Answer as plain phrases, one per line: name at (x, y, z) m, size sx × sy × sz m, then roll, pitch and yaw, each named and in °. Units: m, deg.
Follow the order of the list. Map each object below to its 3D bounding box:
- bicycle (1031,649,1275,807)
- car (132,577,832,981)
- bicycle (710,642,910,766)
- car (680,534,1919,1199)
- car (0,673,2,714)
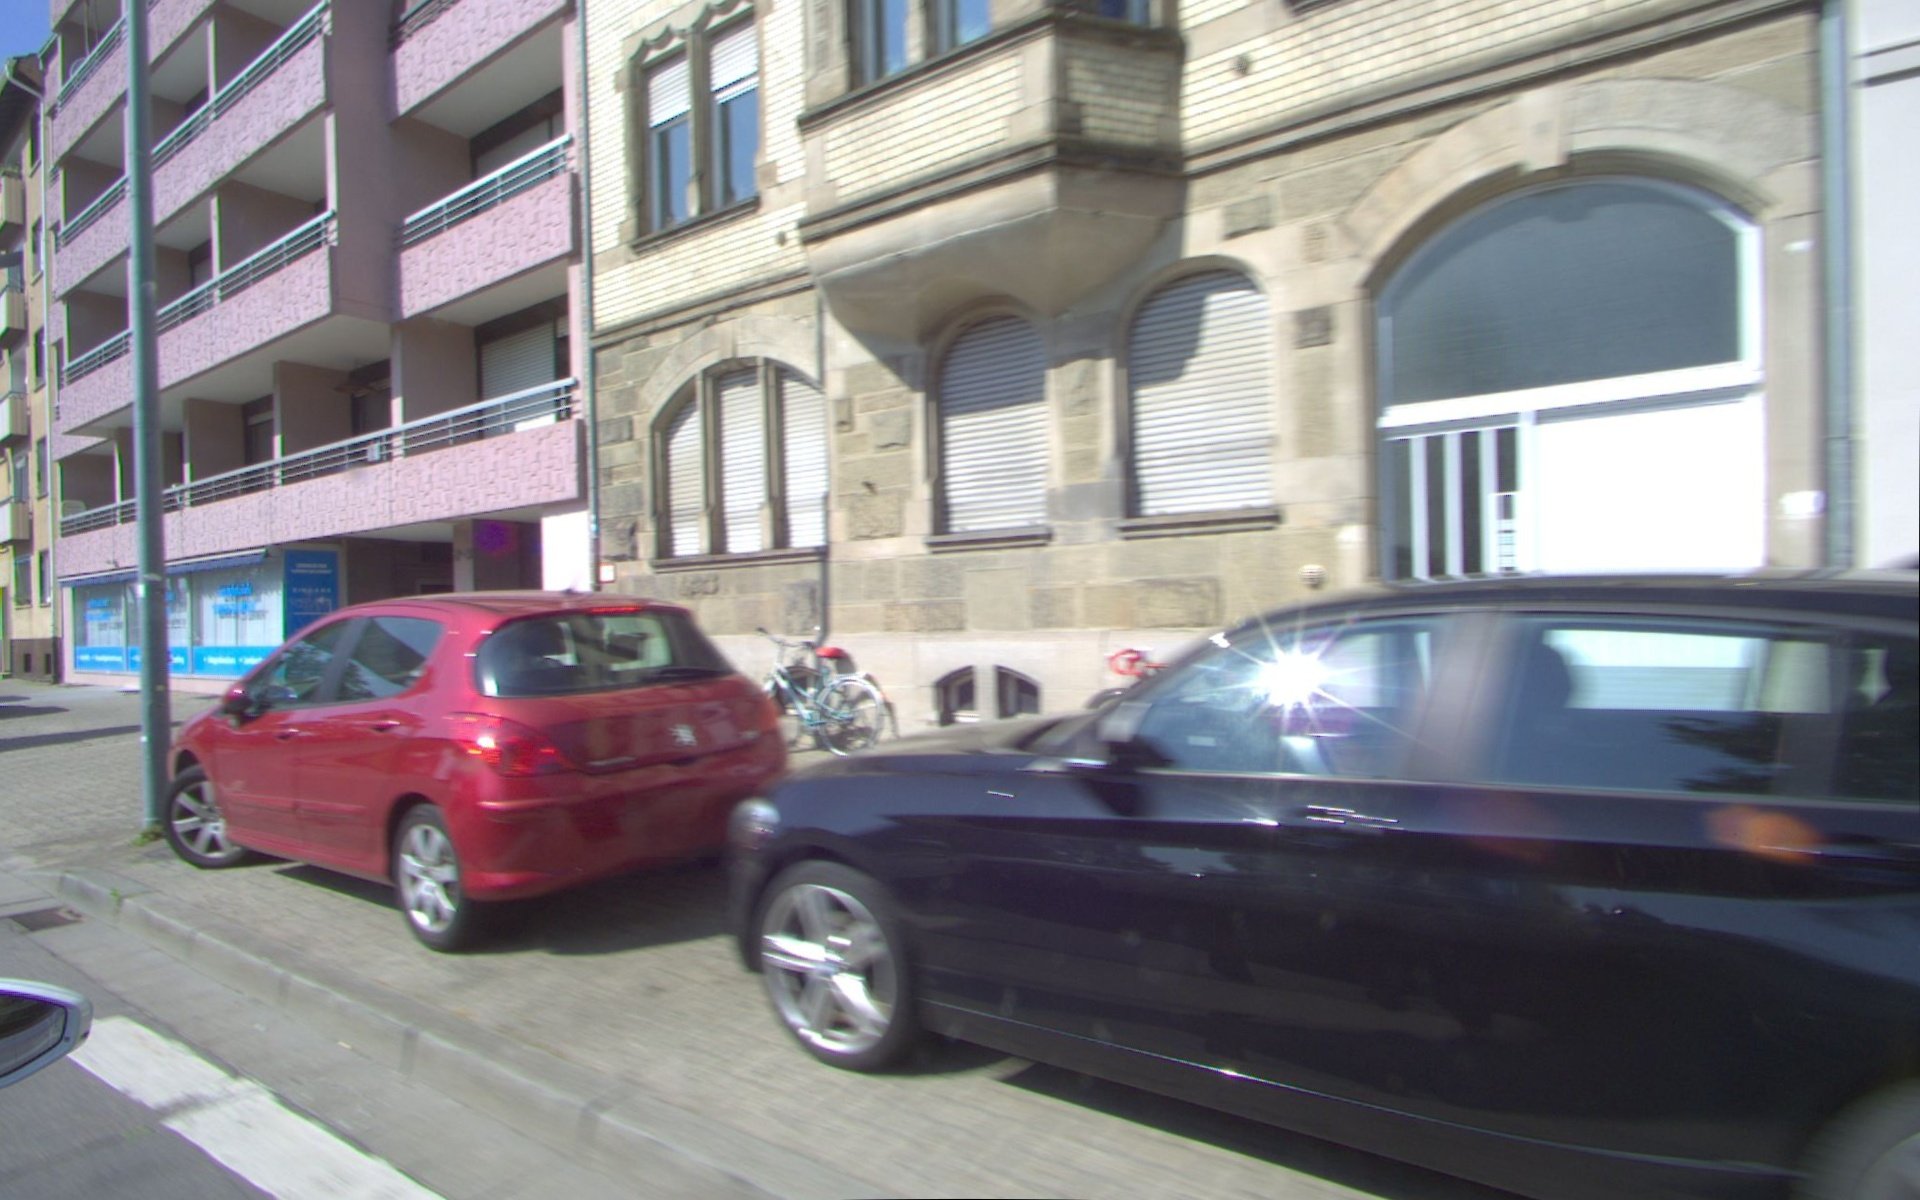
bicycle at (1.331, 0.851, 7.085) m, size 1.631 × 0.982 × 0.506 m, roll -1°, pitch 0°, yaw 37°
car at (-2.797, 0.697, 5.575) m, size 3.947 × 1.502 × 1.779 m, roll -2°, pitch 0°, yaw 35°
bicycle at (-1.370, 0.877, 8.945) m, size 1.840 × 0.982 × 0.648 m, roll -1°, pitch 0°, yaw 37°
car at (1.206, 0.653, 2.788) m, size 4.072 × 1.472 × 1.637 m, roll -2°, pitch 0°, yaw 36°
car at (-17.103, 1.148, 16.362) m, size 3.389 × 1.428 × 1.670 m, roll -1°, pitch 1°, yaw 39°
